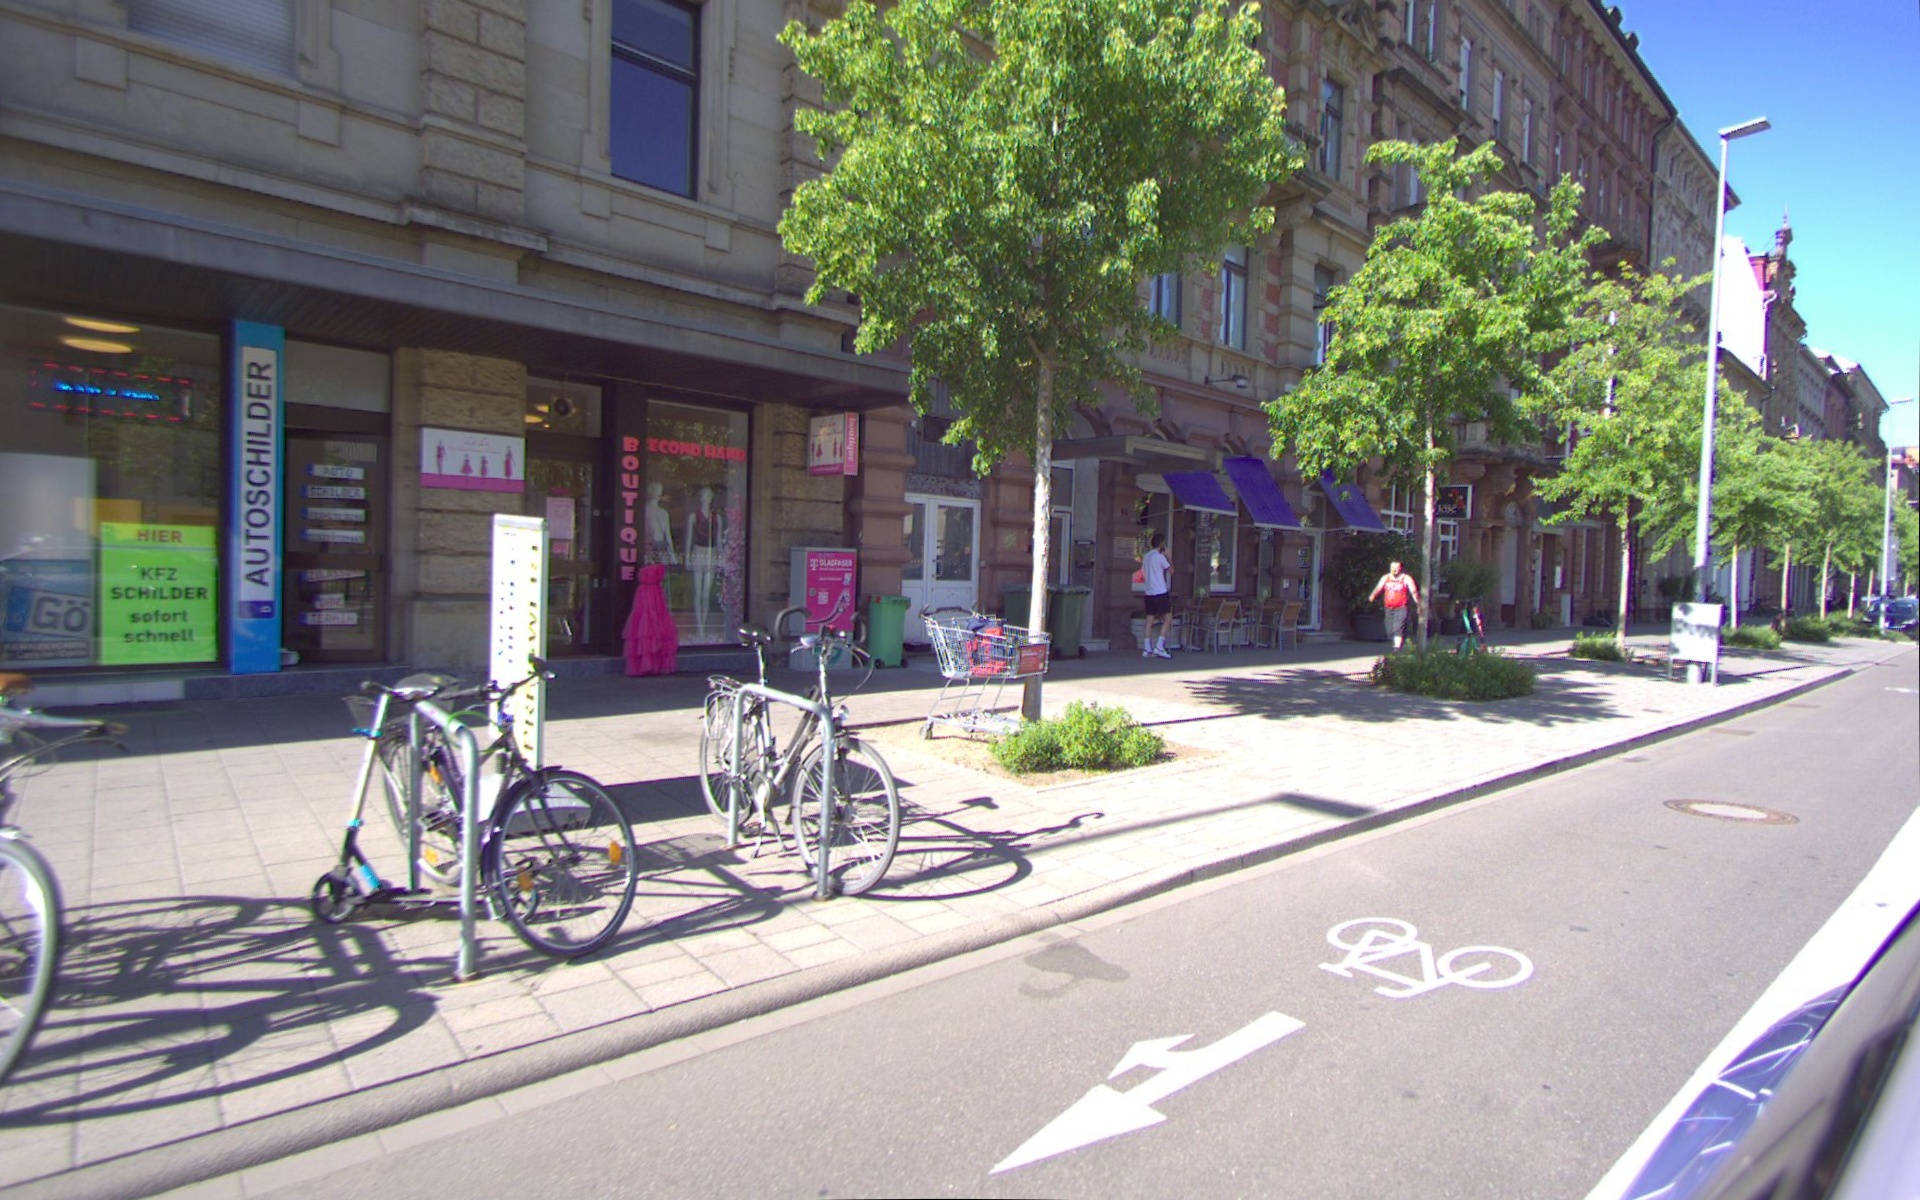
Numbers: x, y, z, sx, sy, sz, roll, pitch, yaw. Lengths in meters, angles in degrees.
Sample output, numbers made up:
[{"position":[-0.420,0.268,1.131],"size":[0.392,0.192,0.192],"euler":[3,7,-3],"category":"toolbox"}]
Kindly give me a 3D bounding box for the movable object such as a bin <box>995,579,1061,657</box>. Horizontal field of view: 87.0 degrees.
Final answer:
[{"position":[0.939,0.237,14.110],"size":[0.576,1.025,0.693],"euler":[-1,4,-37],"category":"movable object such as a bin"}]

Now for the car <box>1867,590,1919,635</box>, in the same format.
[{"position":[35.773,0.432,38.359],"size":[3.684,1.603,1.668],"euler":[-1,0,-41],"category":"car"}]

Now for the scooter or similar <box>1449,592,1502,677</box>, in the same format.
[{"position":[7.473,0.487,14.691],"size":[0.283,1.187,0.640],"euler":[1,1,-19],"category":"scooter or similar"}]

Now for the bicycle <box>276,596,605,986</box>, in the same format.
[{"position":[-2.127,0.618,4.032],"size":[1.662,1.123,0.594],"euler":[6,5,41],"category":"bicycle"}]

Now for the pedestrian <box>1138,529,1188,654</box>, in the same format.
[{"position":[3.093,-0.130,15.457],"size":[0.491,1.873,0.513],"euler":[1,1,-33],"category":"pedestrian"}]

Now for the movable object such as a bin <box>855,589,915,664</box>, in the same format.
[{"position":[-0.933,0.315,12.564],"size":[0.467,0.876,0.607],"euler":[-1,4,-36],"category":"movable object such as a bin"}]

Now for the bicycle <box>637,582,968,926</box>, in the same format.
[{"position":[-0.858,0.607,4.991],"size":[0.680,1.266,1.868],"euler":[-1,5,-42],"category":"bicycle"}]

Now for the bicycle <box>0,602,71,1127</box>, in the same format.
[{"position":[-3.128,0.650,3.094],"size":[0.592,1.133,2.054],"euler":[0,4,-41],"category":"bicycle"}]

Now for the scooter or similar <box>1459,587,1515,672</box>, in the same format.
[{"position":[7.918,0.436,15.218],"size":[0.320,1.235,0.676],"euler":[1,1,-19],"category":"scooter or similar"}]

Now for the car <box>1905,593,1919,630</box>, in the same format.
[{"position":[40.771,0.471,42.173],"size":[3.684,1.480,1.668],"euler":[-1,0,-41],"category":"car"}]

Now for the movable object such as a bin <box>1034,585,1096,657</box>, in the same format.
[{"position":[1.502,0.281,14.532],"size":[0.576,0.986,0.693],"euler":[-1,1,-36],"category":"movable object such as a bin"}]

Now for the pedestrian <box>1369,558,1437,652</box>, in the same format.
[{"position":[7.870,0.075,17.975],"size":[0.794,1.603,0.753],"euler":[0,4,-41],"category":"pedestrian"}]
